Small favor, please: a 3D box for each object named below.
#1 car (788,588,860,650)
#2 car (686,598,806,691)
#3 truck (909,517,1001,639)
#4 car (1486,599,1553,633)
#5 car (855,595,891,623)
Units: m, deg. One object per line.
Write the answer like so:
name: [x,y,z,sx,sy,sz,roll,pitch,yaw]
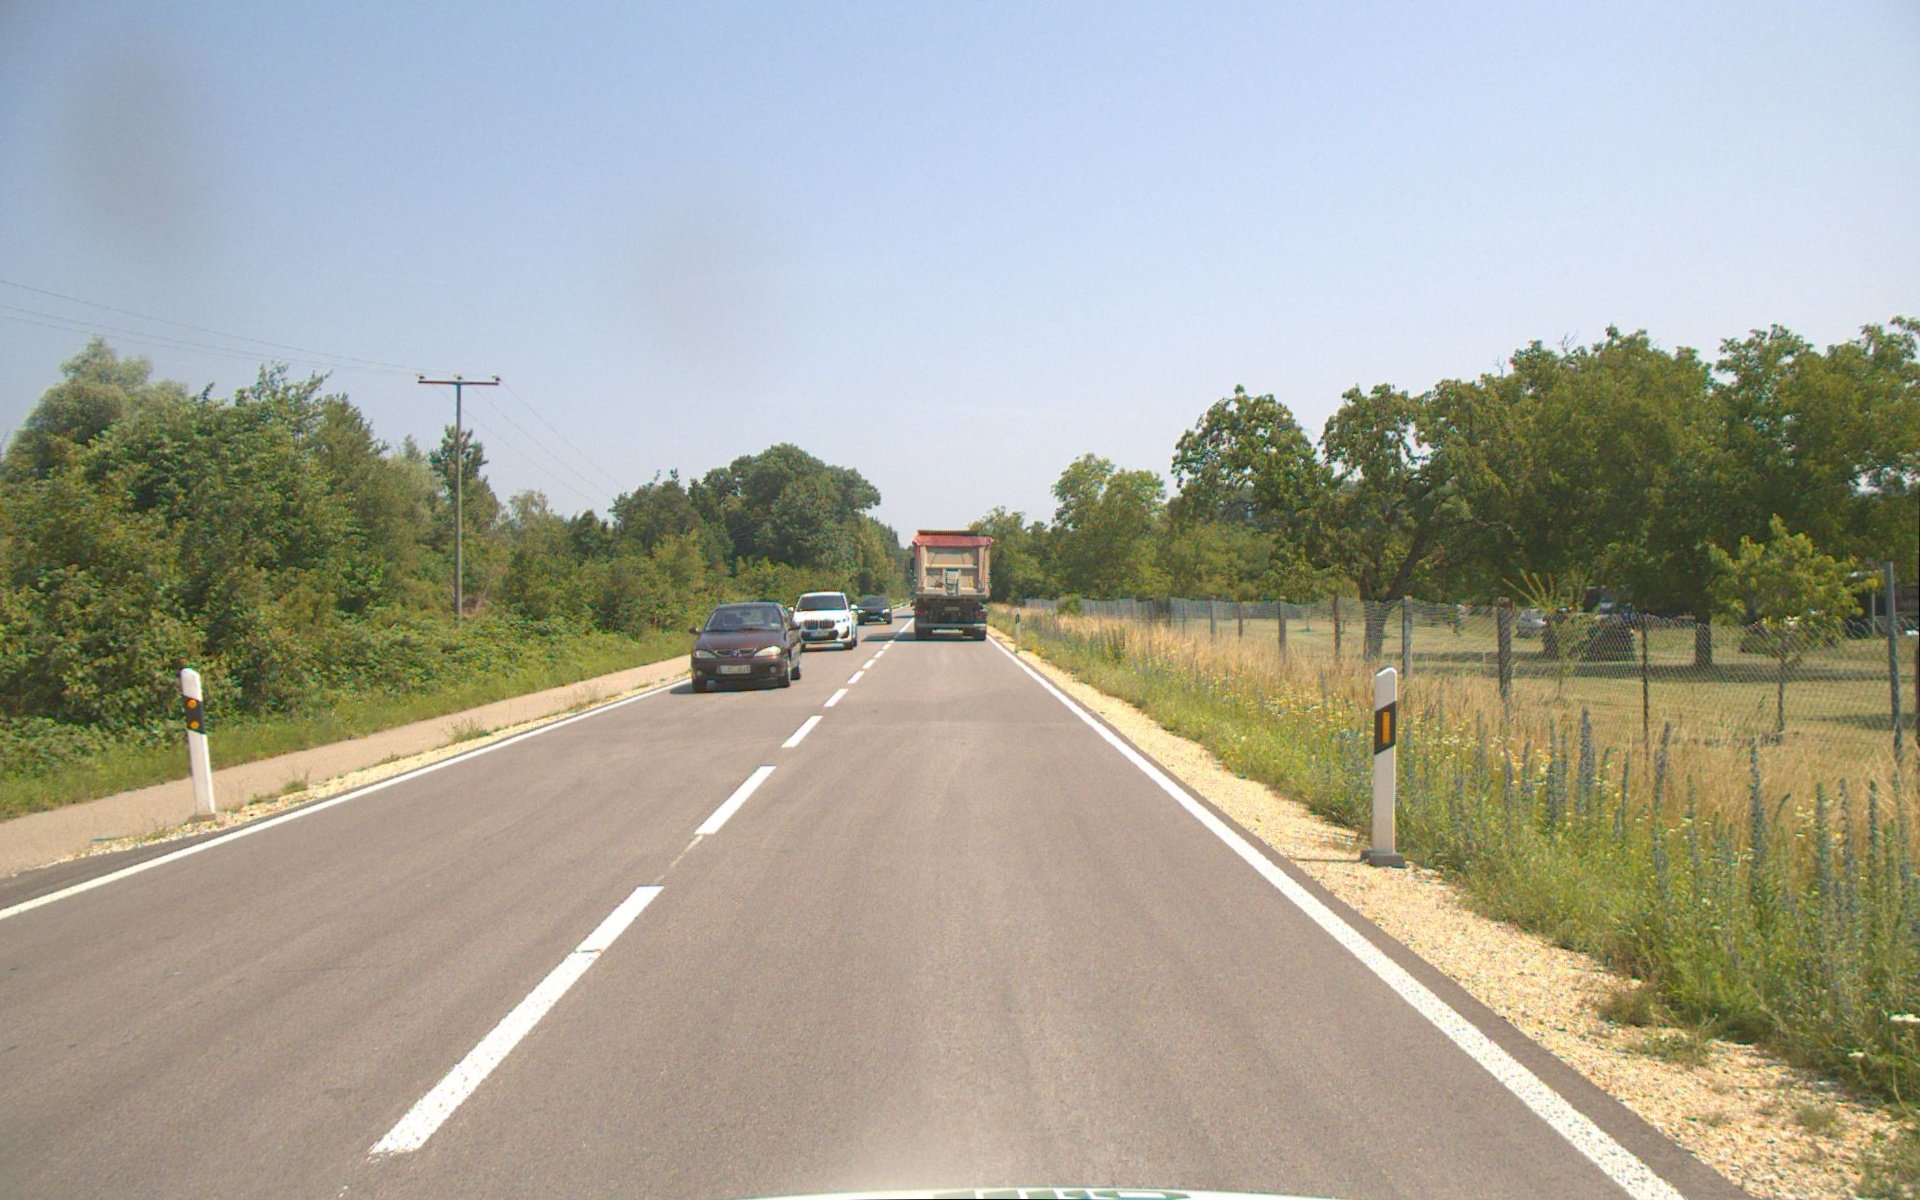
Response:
car: [-3.920,0.519,48.262,1.723,1.634,4.480,-3,0,-1]
car: [-3.676,0.725,28.958,1.660,1.431,4.044,-3,0,-2]
truck: [-0.257,-0.709,60.216,2.948,3.942,12.206,1,0,-1]
car: [26.032,0.717,77.040,1.563,1.512,3.421,0,1,-9]
car: [-4.586,0.465,87.414,1.723,1.381,4.045,-3,0,-1]
